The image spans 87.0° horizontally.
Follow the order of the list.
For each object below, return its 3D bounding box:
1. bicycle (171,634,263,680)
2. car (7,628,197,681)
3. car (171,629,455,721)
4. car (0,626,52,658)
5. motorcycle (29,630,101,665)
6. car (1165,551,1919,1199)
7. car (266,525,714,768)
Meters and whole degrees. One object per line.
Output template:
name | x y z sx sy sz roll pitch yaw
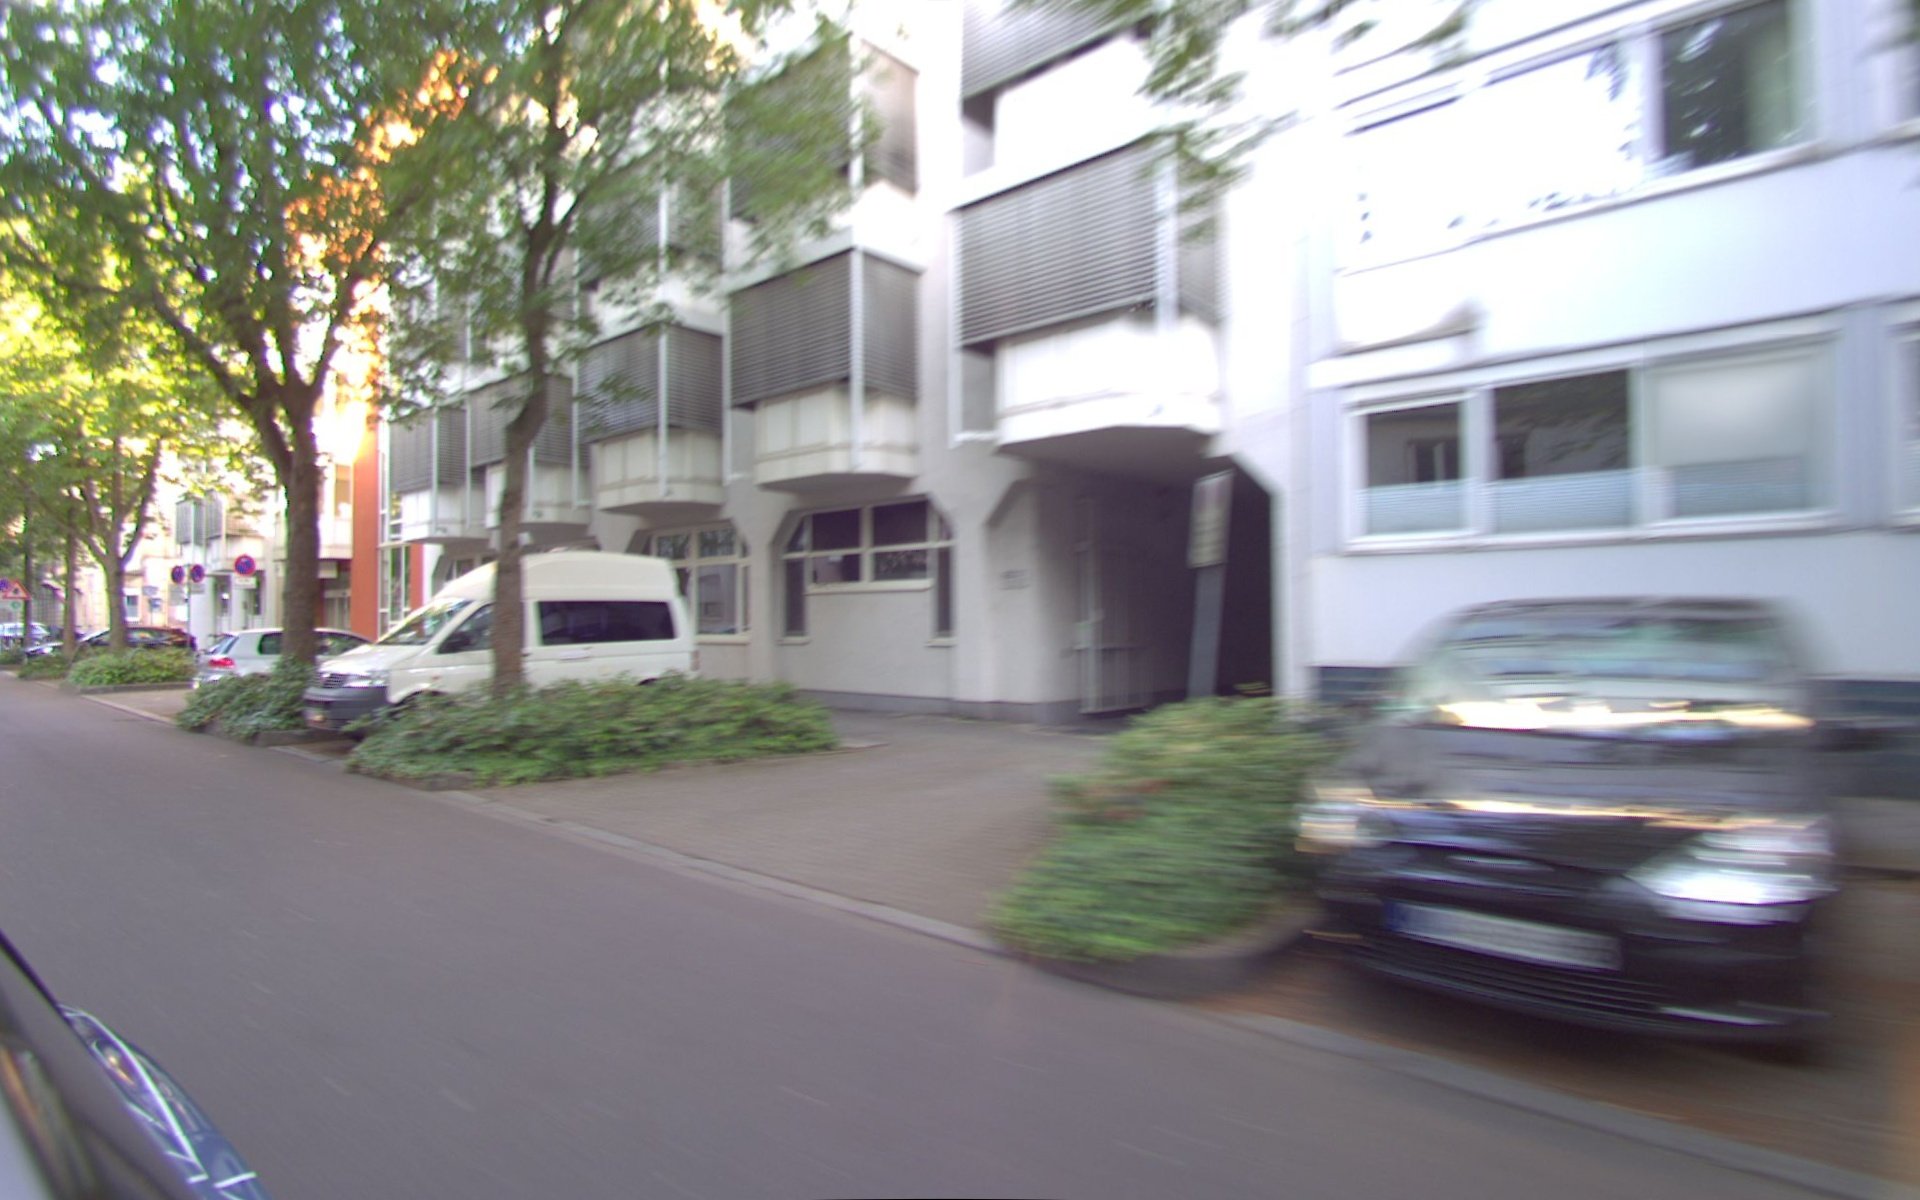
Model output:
bicycle | -20.362 1.540 27.770 0.655 1.185 1.941 -2 -2 35
car | -27.654 1.696 32.735 1.871 1.537 4.461 -2 -2 41
car | -11.990 1.302 18.947 1.953 1.480 4.123 -2 -2 42
car | -53.558 2.359 56.255 4.537 1.748 2.143 1 -2 -43
motorcycle | -38.788 2.042 43.897 0.895 1.481 2.217 -1 -2 19
car | 3.212 0.738 4.985 2.160 1.634 4.800 -2 -2 42
car | -5.955 0.548 13.368 2.120 2.592 4.950 -2 -2 41
